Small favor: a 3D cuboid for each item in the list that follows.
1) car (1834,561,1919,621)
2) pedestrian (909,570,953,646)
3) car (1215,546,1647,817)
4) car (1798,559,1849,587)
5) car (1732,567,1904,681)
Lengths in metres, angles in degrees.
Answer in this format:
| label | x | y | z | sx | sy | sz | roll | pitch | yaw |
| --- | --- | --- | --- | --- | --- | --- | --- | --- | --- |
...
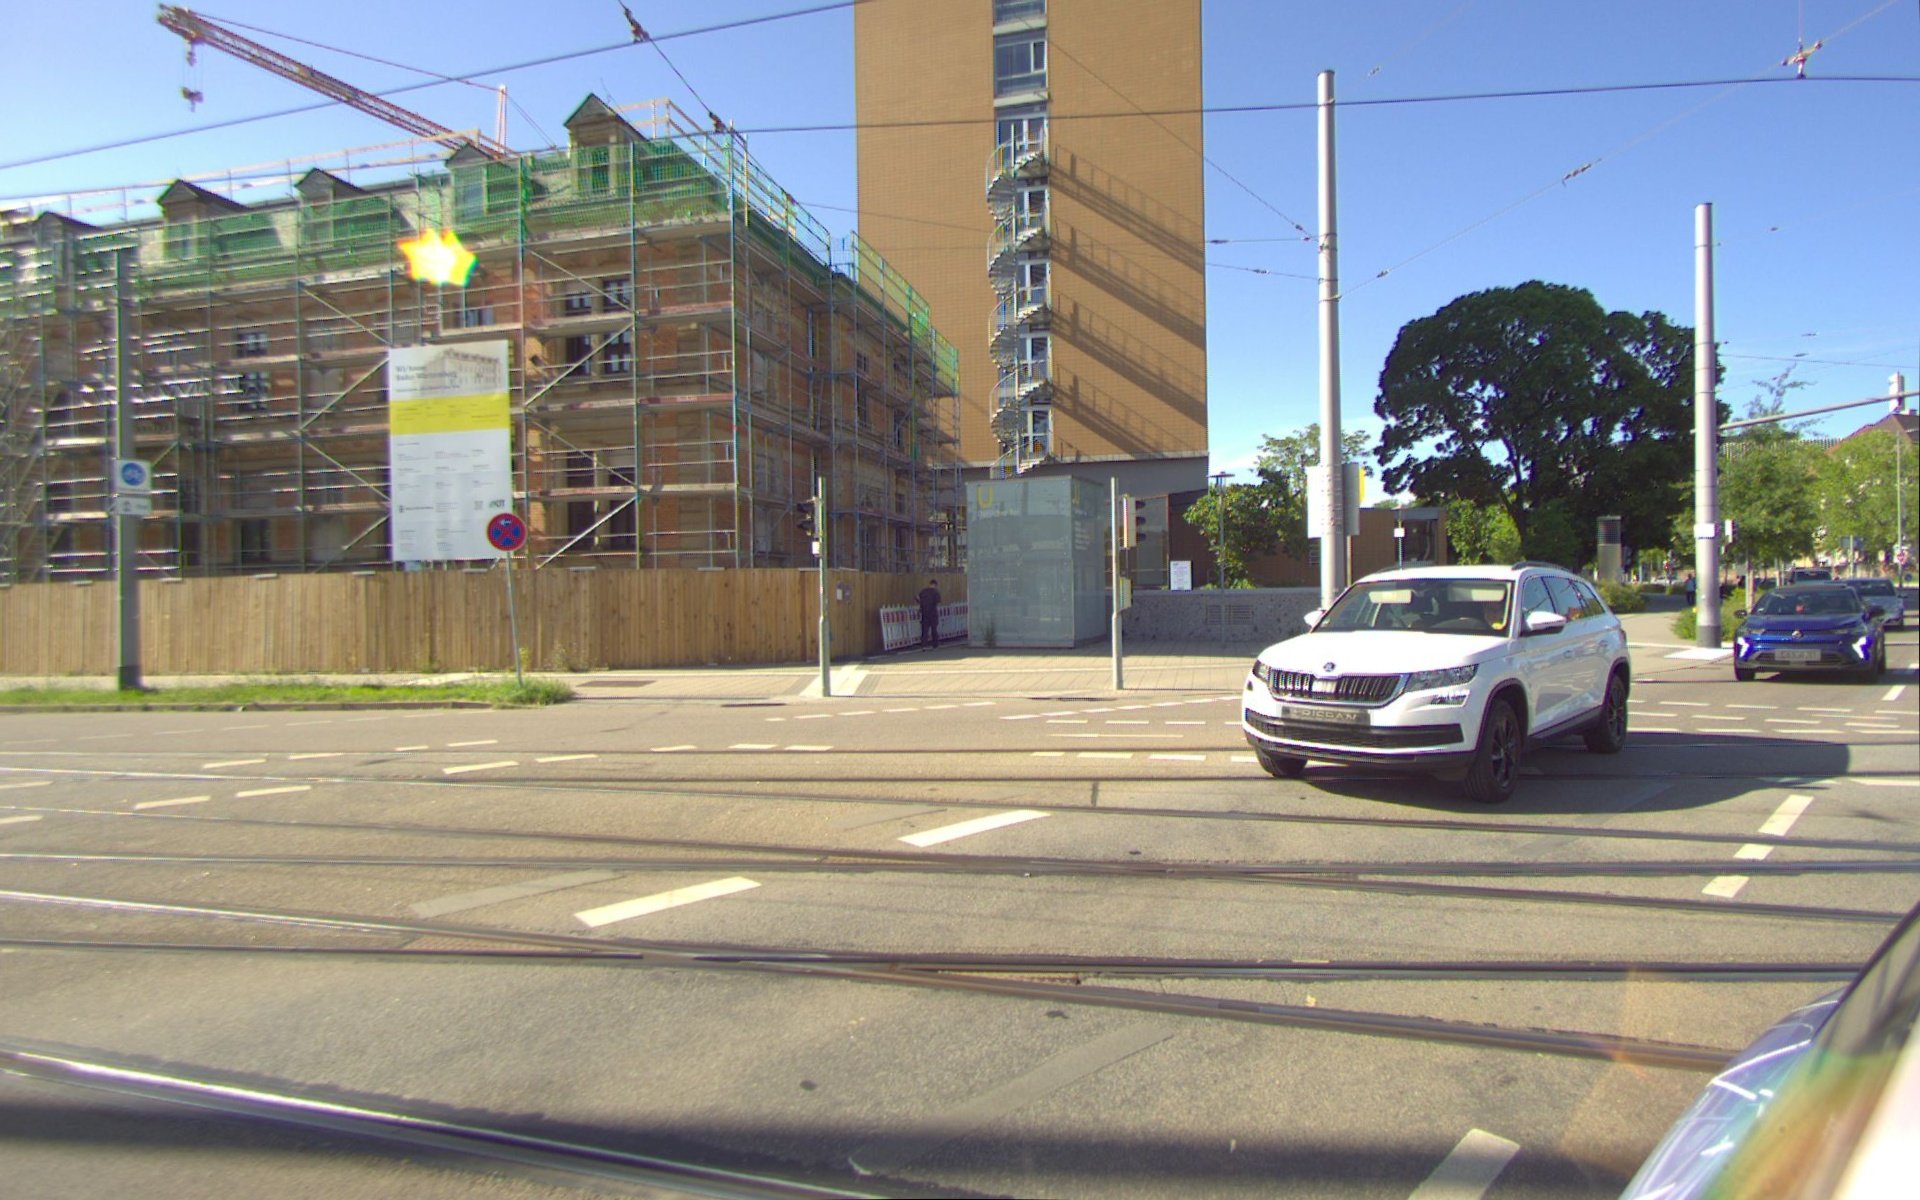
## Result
| label | x | y | z | sx | sy | sz | roll | pitch | yaw |
| --- | --- | --- | --- | --- | --- | --- | --- | --- | --- |
| car | 28.356 | -0.296 | 31.164 | 1.881 | 1.650 | 3.949 | -3 | 0 | 45 |
| pedestrian | -0.719 | 0.188 | 24.998 | 0.767 | 1.810 | 0.826 | -3 | -1 | 19 |
| car | 4.100 | 0.446 | 8.422 | 4.325 | 1.665 | 1.865 | -2 | 1 | -44 |
| car | 50.390 | -1.580 | 59.127 | 1.911 | 1.477 | 4.607 | -3 | 0 | 37 |
| car | 14.645 | 0.348 | 17.202 | 1.881 | 1.650 | 3.949 | -3 | 0 | 45 |
